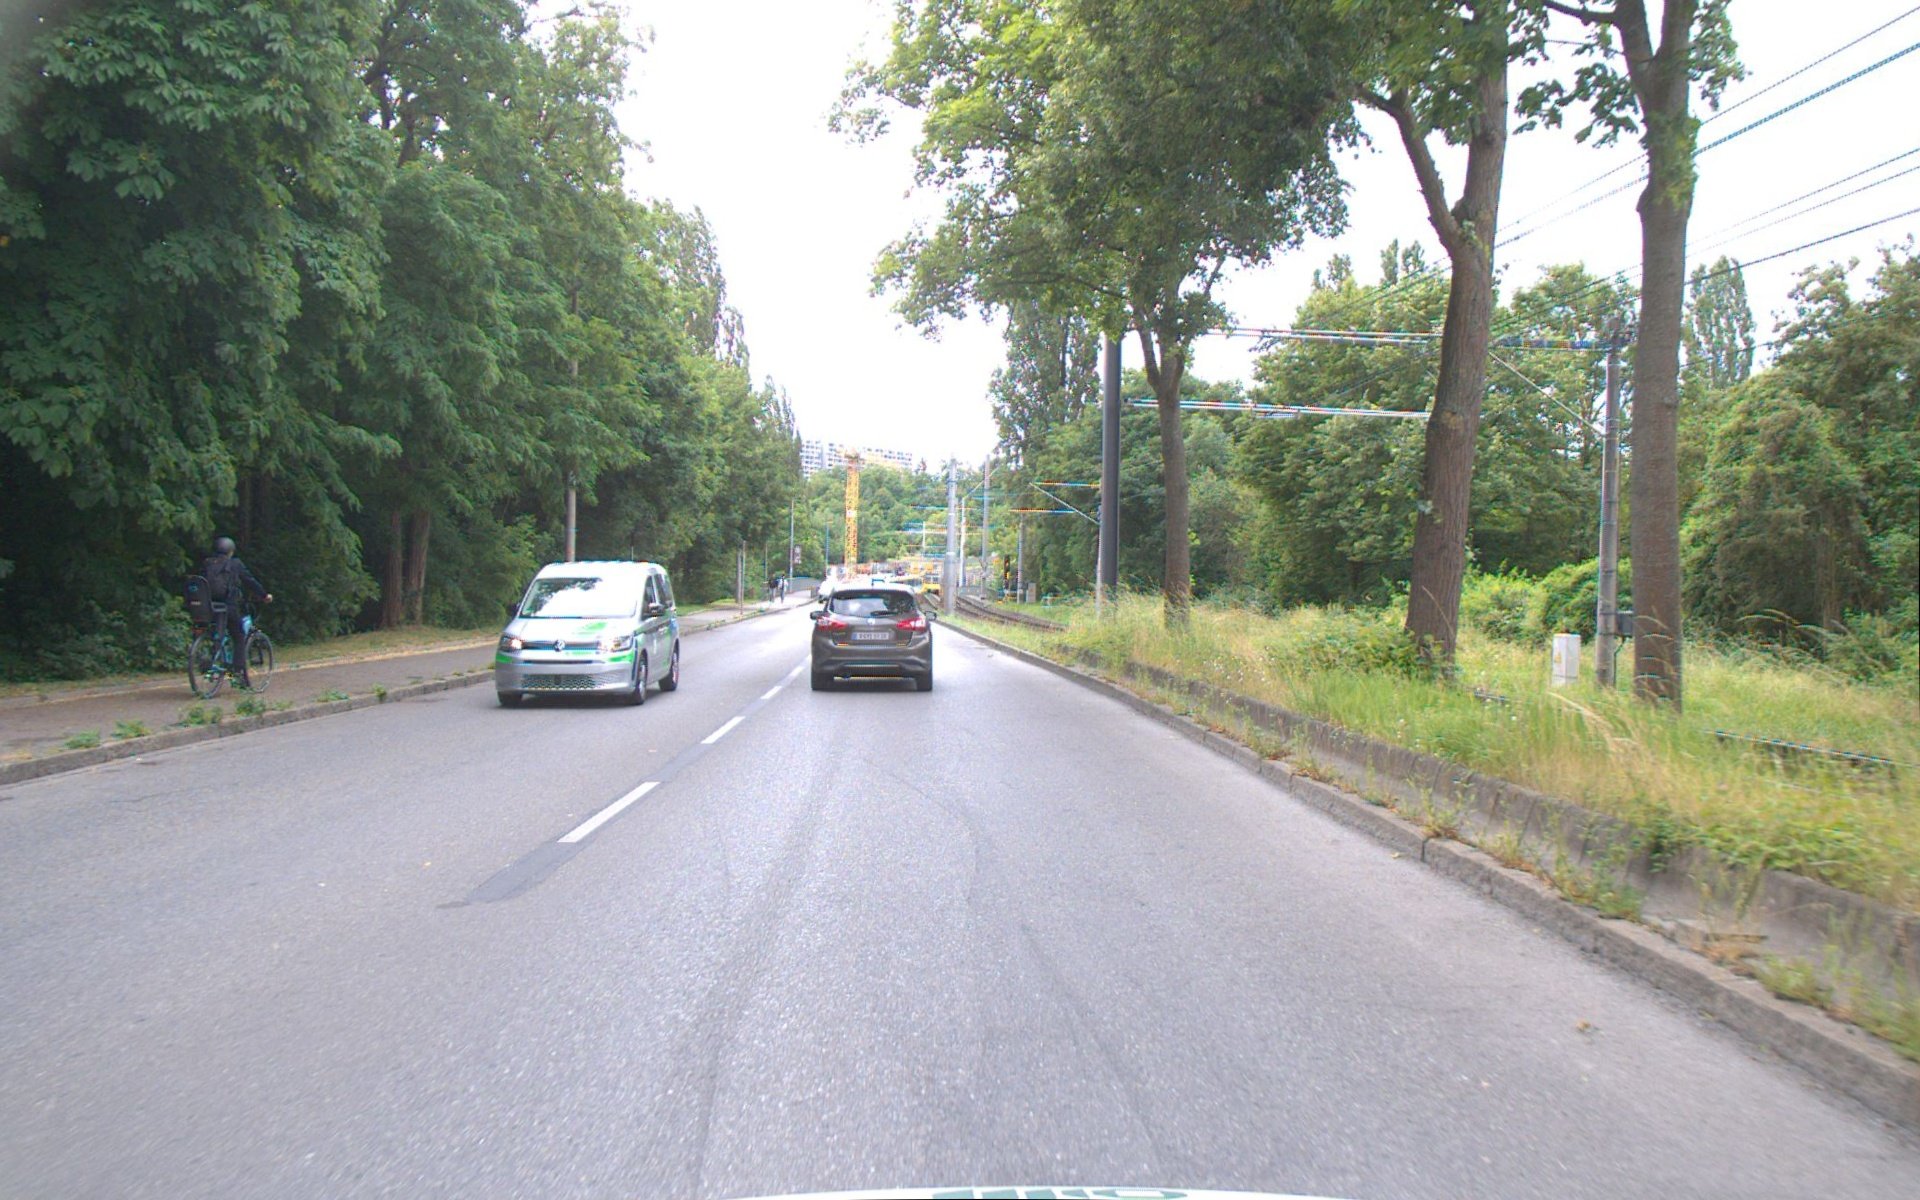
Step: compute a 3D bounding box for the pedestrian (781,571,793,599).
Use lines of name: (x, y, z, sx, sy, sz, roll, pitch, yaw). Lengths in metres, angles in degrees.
pedestrian: (-11.025, -0.954, 105.398, 0.540, 1.795, 0.857, 4, 0, -4)

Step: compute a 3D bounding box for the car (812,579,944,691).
car: (-1.282, 0.484, 24.799, 1.794, 1.536, 3.996, 1, 0, -5)

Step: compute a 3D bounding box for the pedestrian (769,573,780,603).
pedestrian: (-11.782, -0.754, 104.929, 0.575, 1.834, 0.822, 2, 0, -4)

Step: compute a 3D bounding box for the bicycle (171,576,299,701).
bicycle: (-8.440, 0.414, 19.369, 0.685, 1.354, 2.277, 2, 0, -7)

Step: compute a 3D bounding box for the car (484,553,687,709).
car: (-4.816, 0.341, 21.891, 1.819, 1.830, 4.554, 0, 1, -2)

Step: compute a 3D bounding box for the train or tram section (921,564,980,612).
train or tram section: (-1.424, -1.341, 214.568, 2.974, 5.273, 22.985, 3, -2, -11)

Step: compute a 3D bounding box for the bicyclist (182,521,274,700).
bicyclist: (-8.370, 0.114, 18.932, 0.673, 1.982, 0.834, 2, 0, -7)
